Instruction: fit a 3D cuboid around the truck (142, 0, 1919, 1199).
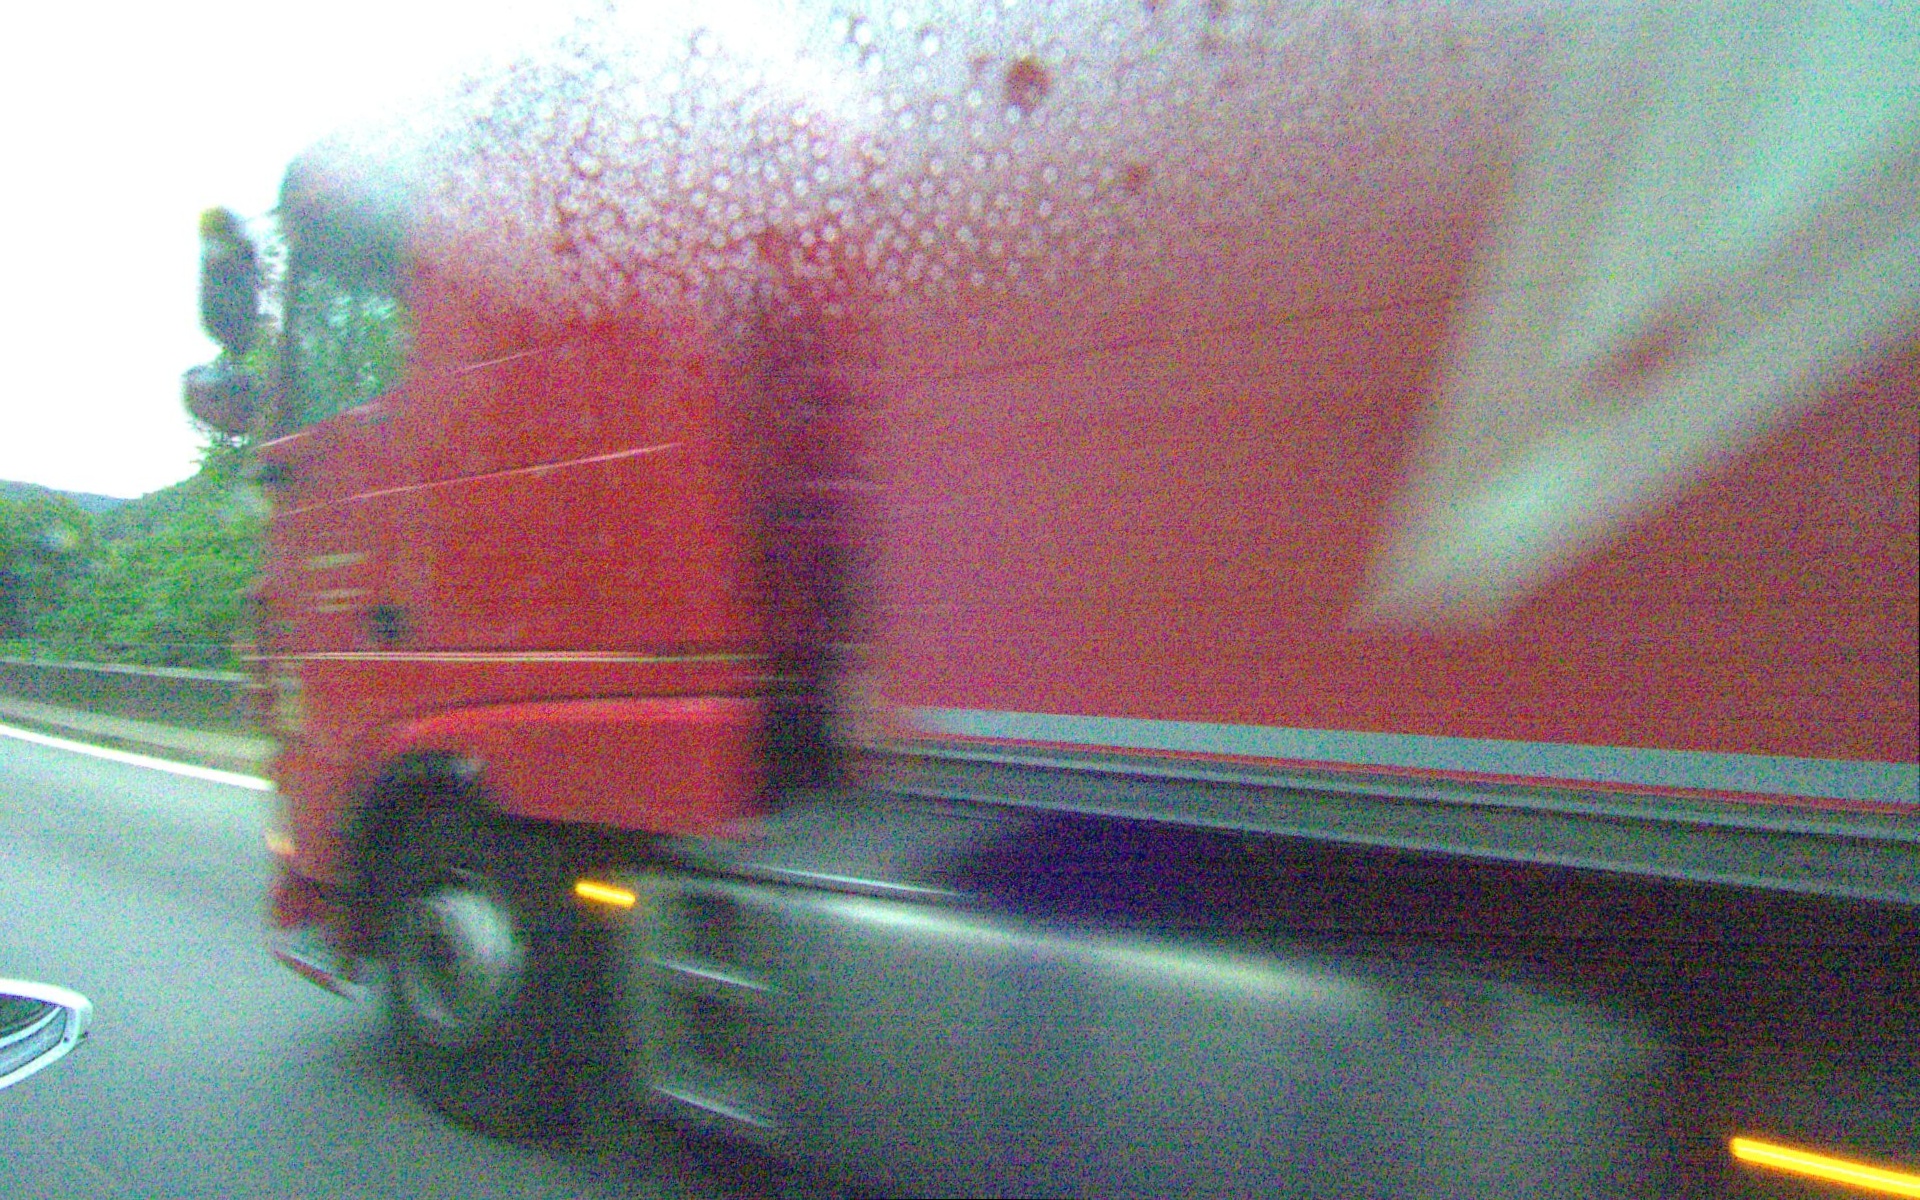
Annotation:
[{"bbox_3d":[0.565,-0.564,3.322,6.351,4.199,3.064,-1,0,31],"label":"truck"}]
